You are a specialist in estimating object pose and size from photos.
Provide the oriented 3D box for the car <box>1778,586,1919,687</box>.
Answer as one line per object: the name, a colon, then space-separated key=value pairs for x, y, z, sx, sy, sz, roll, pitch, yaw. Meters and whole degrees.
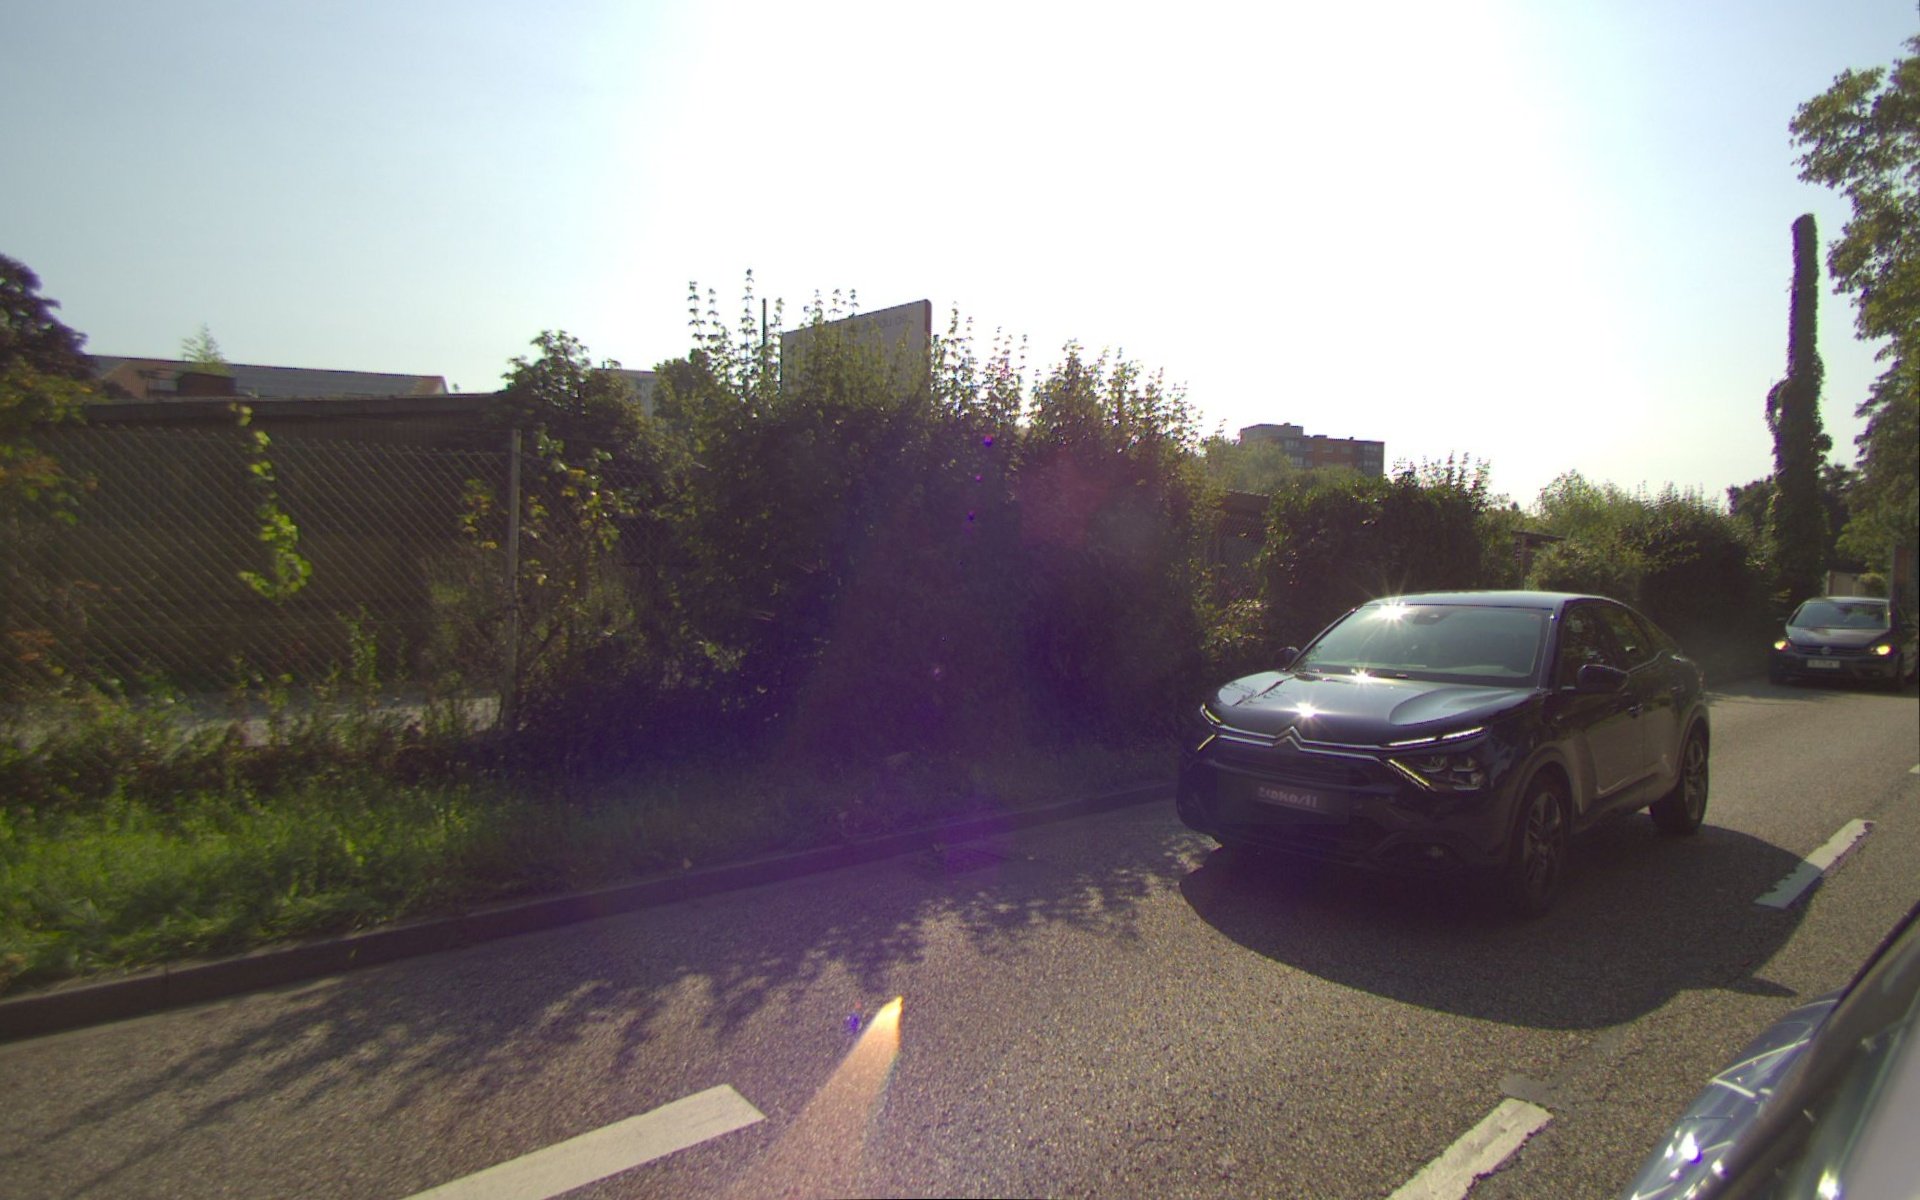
car: x=16.109 y=0.567 z=18.075 sx=3.831 sy=1.576 sz=1.648 roll=0 pitch=2 yaw=-41

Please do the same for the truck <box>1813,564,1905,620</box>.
truck: x=39.164 y=-0.377 z=44.007 sx=6.788 sy=2.261 sz=1.919 roll=0 pitch=1 yaw=-39

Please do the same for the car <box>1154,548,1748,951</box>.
car: x=3.143 y=0.549 z=6.038 sx=4.180 sy=1.607 sz=1.648 roll=-1 pitch=2 yaw=-41
